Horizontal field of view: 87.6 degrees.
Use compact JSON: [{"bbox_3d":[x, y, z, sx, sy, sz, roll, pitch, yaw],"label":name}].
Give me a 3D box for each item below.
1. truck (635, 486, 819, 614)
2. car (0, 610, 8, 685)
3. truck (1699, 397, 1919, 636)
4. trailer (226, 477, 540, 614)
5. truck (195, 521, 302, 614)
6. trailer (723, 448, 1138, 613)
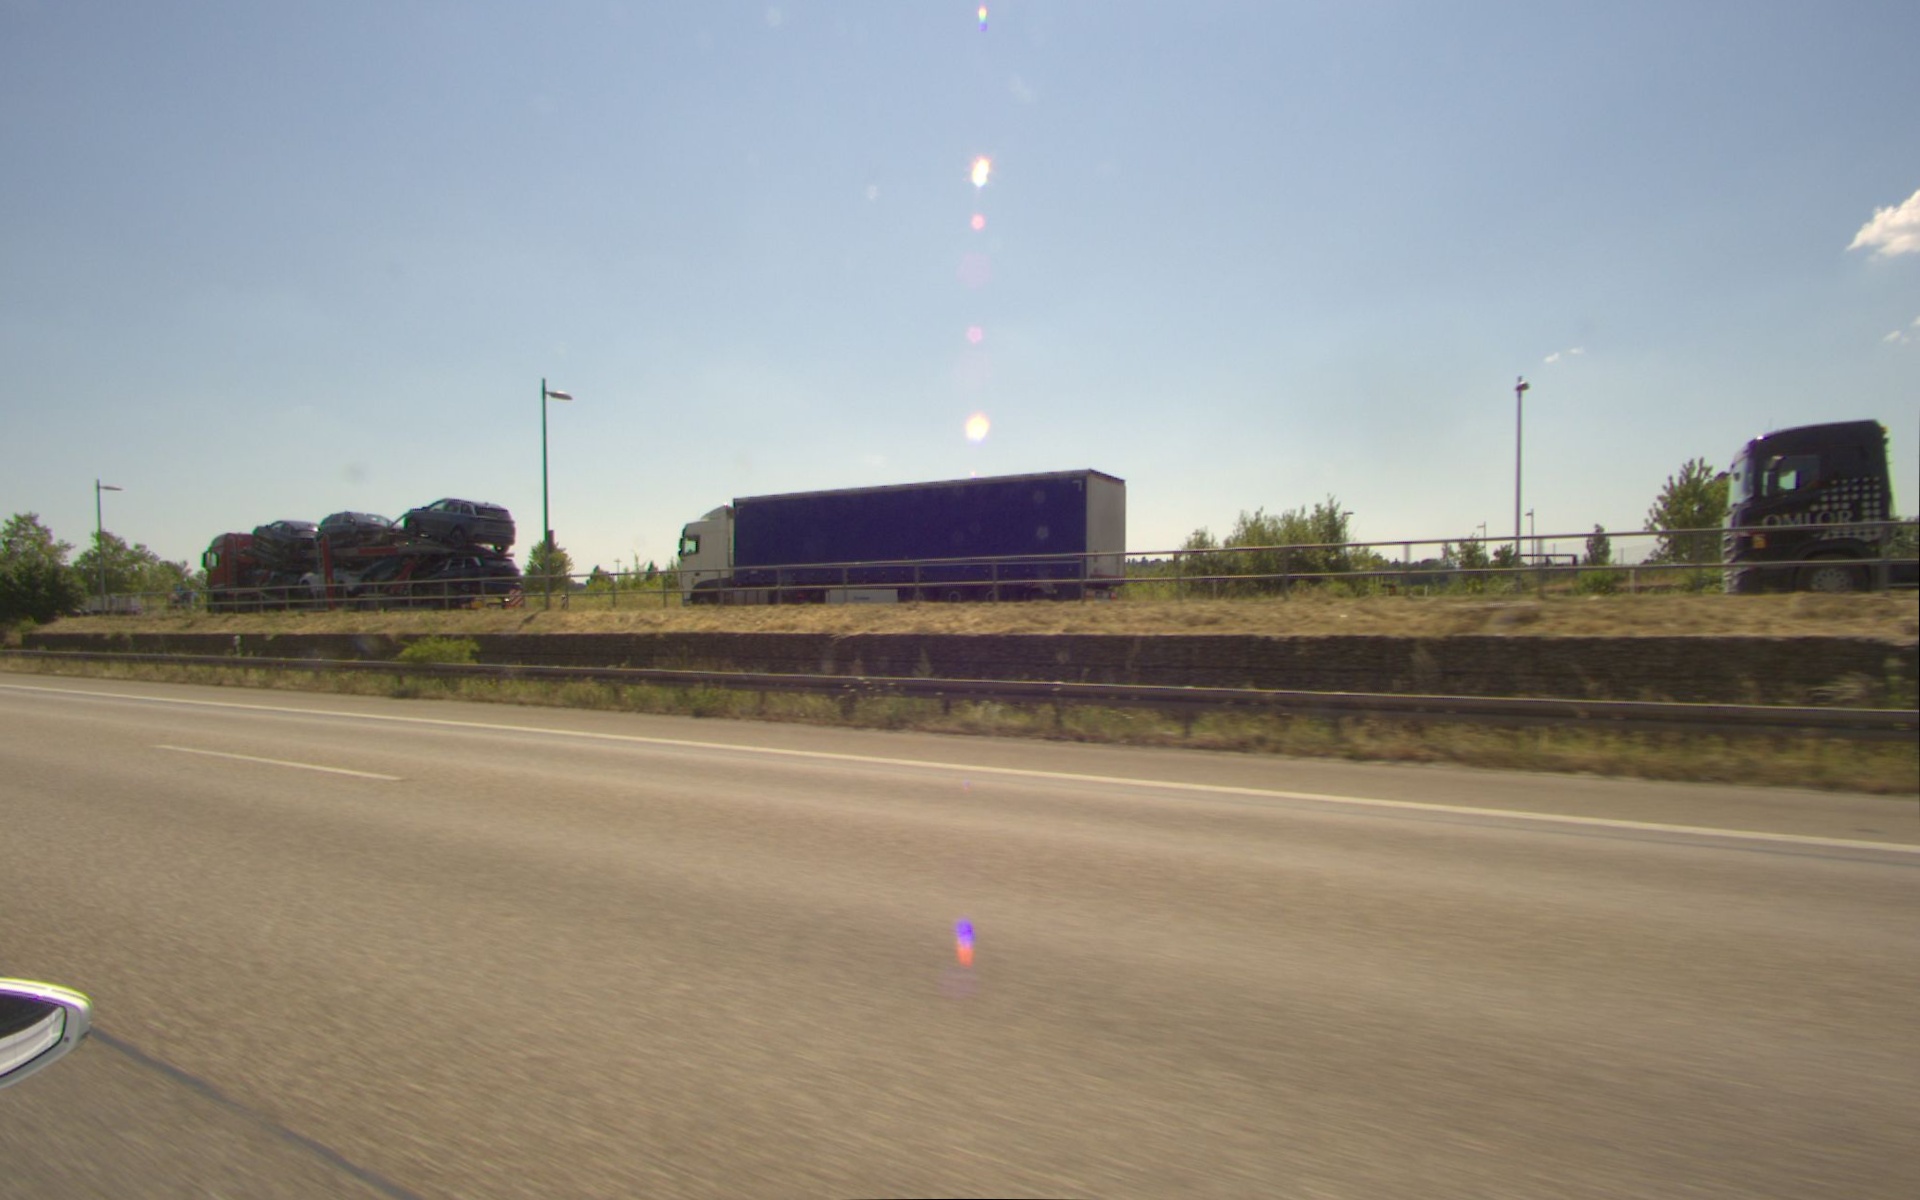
[{"bbox_3d":[-8.540,-1.630,36.550,6.309,4.135,3.046,-1,-2,33],"label":"truck"},{"bbox_3d":[-25.777,1.215,24.967,4.118,1.862,1.947,-1,0,32],"label":"car"},{"bbox_3d":[20.579,-1.462,17.166,12.338,4.135,3.783,-1,-2,32],"label":"truck"},{"bbox_3d":[-23.368,-1.734,39.529,18.159,4.312,2.601,-1,-2,32],"label":"trailer"},{"bbox_3d":[-31.978,-1.365,45.004,3.943,3.876,2.598,-1,-2,32],"label":"truck"},{"bbox_3d":[-1.485,-1.798,31.902,14.060,4.135,3.046,-1,-2,33],"label":"trailer"}]
